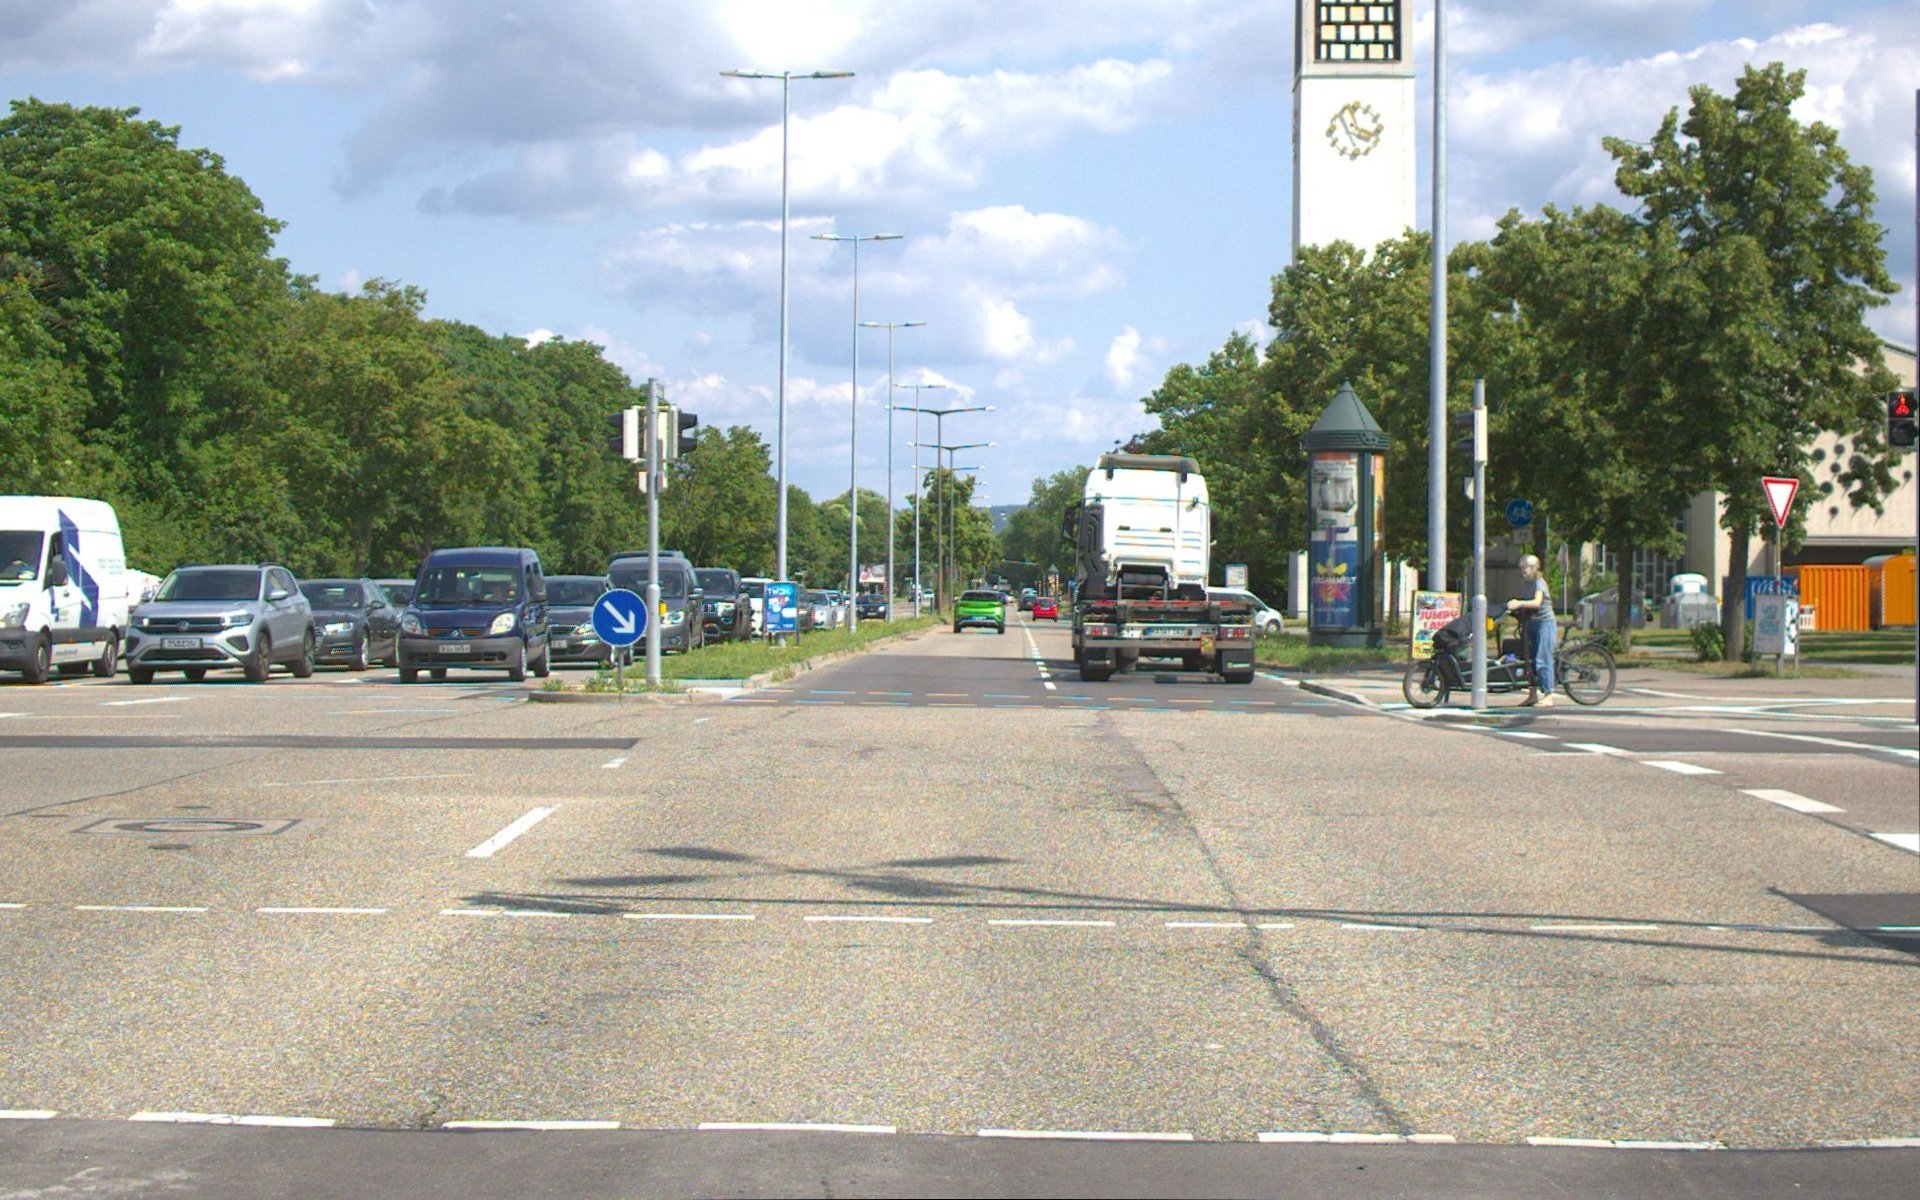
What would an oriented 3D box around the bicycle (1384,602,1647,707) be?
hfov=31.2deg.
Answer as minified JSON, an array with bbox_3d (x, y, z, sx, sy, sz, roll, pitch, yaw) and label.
[{"bbox_3d":[6.068,0.589,37.488,2.832,1.108,0.797,0,1,-24],"label":"bicycle"}]

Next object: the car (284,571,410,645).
[{"bbox_3d":[-11.590,0.144,65.174,1.763,1.347,3.519,1,0,0],"label":"car"}]

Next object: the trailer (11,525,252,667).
[{"bbox_3d":[-12.735,-0.056,53.229,2.124,2.007,5.161,2,0,4],"label":"trailer"}]

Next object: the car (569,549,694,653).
[{"bbox_3d":[-5.729,-0.014,60.378,1.734,1.654,4.231,2,1,0],"label":"car"}]

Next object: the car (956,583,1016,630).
[{"bbox_3d":[0.897,0.224,120.803,1.993,1.547,4.000,2,0,0],"label":"car"}]

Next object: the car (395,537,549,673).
[{"bbox_3d":[-6.437,0.054,45.654,1.734,1.654,4.232,2,0,-5],"label":"car"}]

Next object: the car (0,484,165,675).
[{"bbox_3d":[-13.006,-0.297,47.619,2.174,2.463,5.966,2,0,4],"label":"car"}]

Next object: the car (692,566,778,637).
[{"bbox_3d":[-5.539,0.035,85.043,1.734,1.654,4.231,2,0,0],"label":"car"}]

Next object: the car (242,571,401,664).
[{"bbox_3d":[-9.620,0.252,52.054,1.763,1.347,3.519,1,0,0],"label":"car"}]

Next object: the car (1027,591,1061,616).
[{"bbox_3d":[5.408,0.225,220.590,1.993,1.547,4.000,2,0,0],"label":"car"}]

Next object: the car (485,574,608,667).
[{"bbox_3d":[-6.333,0.299,52.923,1.568,1.311,3.432,2,0,-2],"label":"car"}]

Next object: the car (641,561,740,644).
[{"bbox_3d":[-5.734,0.049,73.555,1.734,1.654,4.231,2,0,0],"label":"car"}]

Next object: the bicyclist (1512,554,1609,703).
[{"bbox_3d":[6.583,0.305,37.702,0.698,1.610,0.797,1,1,-24],"label":"bicyclist"}]

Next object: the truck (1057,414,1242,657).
[{"bbox_3d":[3.396,-1.036,60.855,2.960,3.957,8.636,1,0,4],"label":"truck"}]

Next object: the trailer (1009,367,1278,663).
[{"bbox_3d":[2.884,-1.138,52.815,3.621,3.998,11.317,1,0,4],"label":"trailer"}]

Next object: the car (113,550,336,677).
[{"bbox_3d":[-9.753,0.174,45.884,1.735,1.538,4.308,2,0,4],"label":"car"}]
